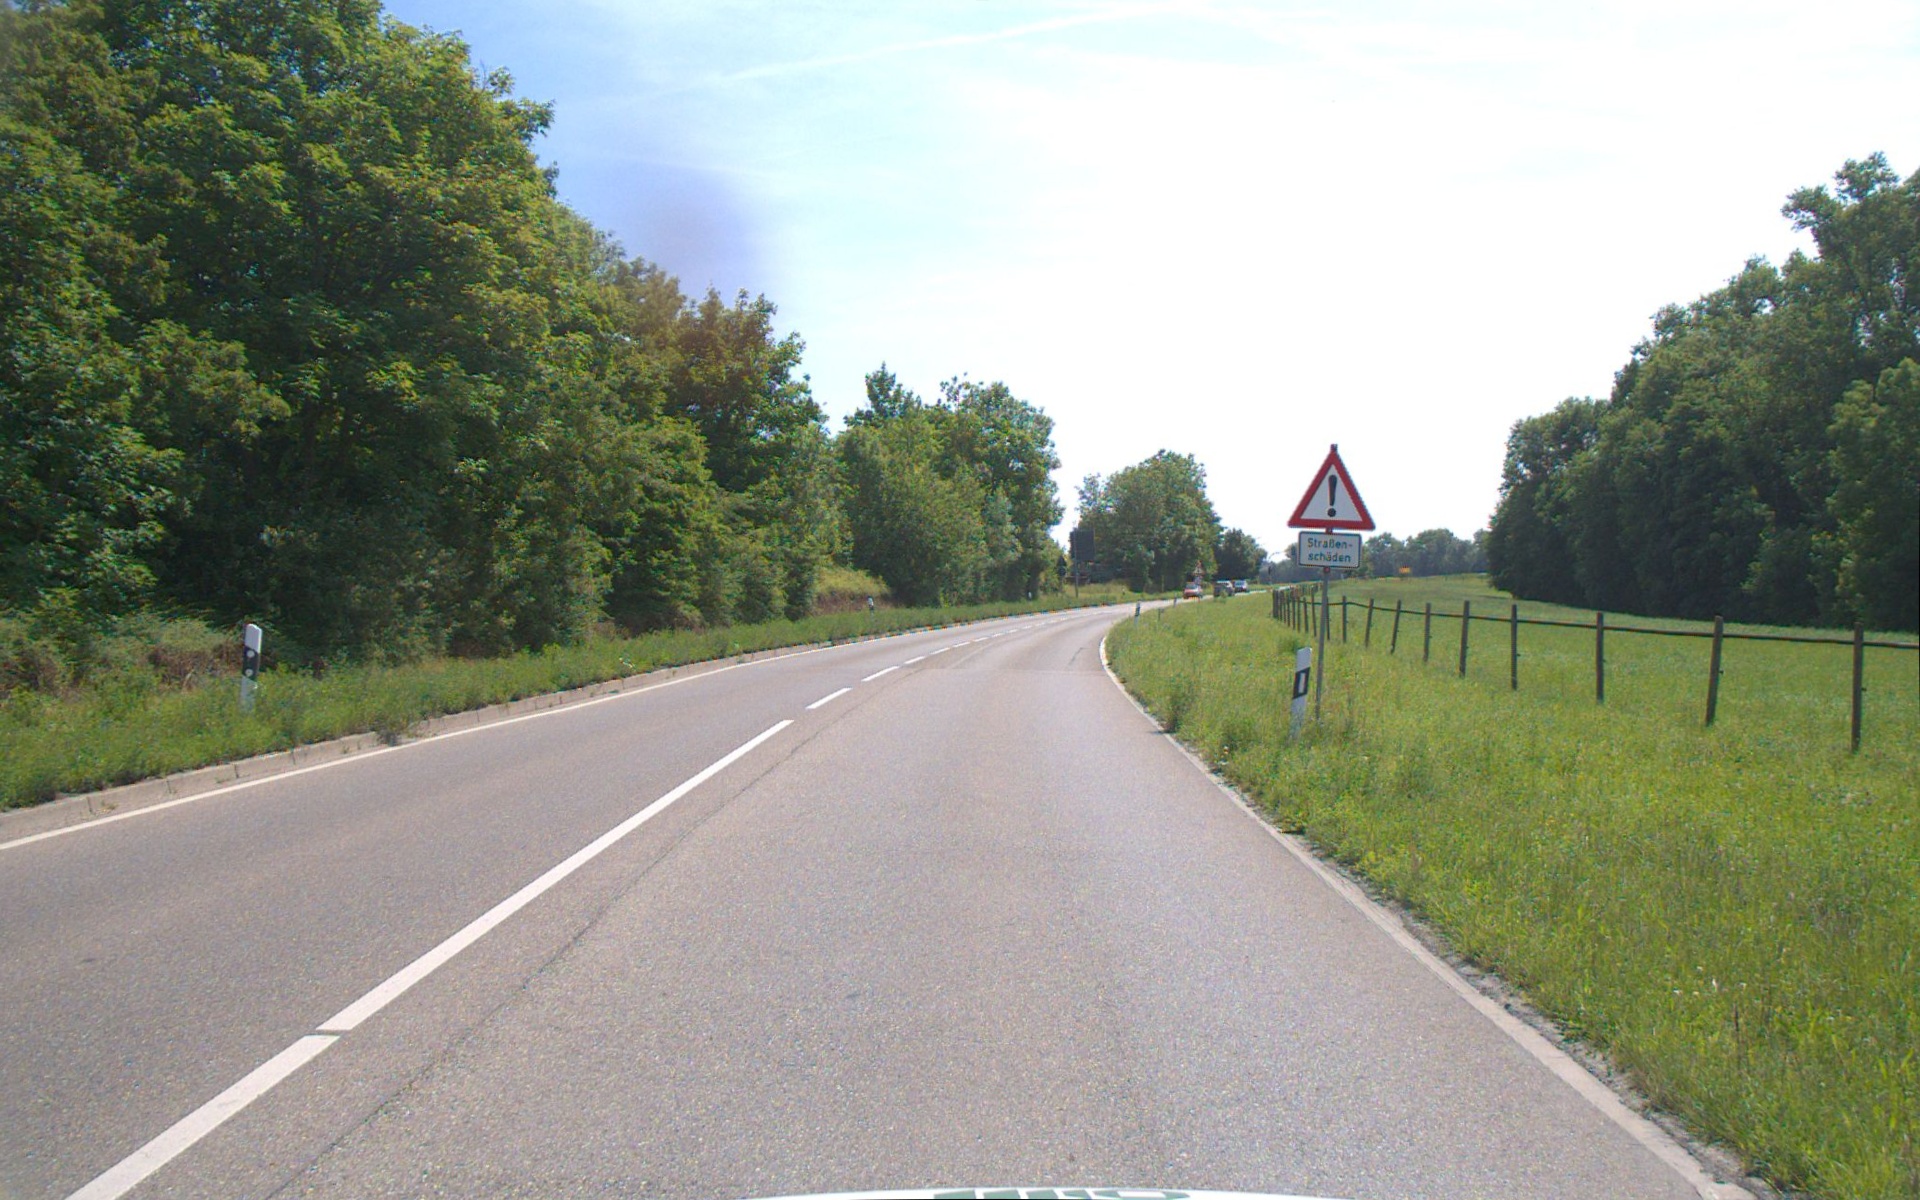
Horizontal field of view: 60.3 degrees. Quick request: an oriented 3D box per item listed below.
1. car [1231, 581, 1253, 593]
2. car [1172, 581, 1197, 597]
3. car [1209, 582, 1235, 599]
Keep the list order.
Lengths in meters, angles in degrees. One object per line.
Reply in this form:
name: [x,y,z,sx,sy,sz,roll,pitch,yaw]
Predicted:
car: [34.500,-1.607,202.460,1.784,1.494,3.999,1,1,23]
car: [21.254,-1.064,156.549,1.782,1.494,4.003,1,1,15]
car: [24.875,-0.878,157.007,1.951,1.601,4.003,1,0,15]
